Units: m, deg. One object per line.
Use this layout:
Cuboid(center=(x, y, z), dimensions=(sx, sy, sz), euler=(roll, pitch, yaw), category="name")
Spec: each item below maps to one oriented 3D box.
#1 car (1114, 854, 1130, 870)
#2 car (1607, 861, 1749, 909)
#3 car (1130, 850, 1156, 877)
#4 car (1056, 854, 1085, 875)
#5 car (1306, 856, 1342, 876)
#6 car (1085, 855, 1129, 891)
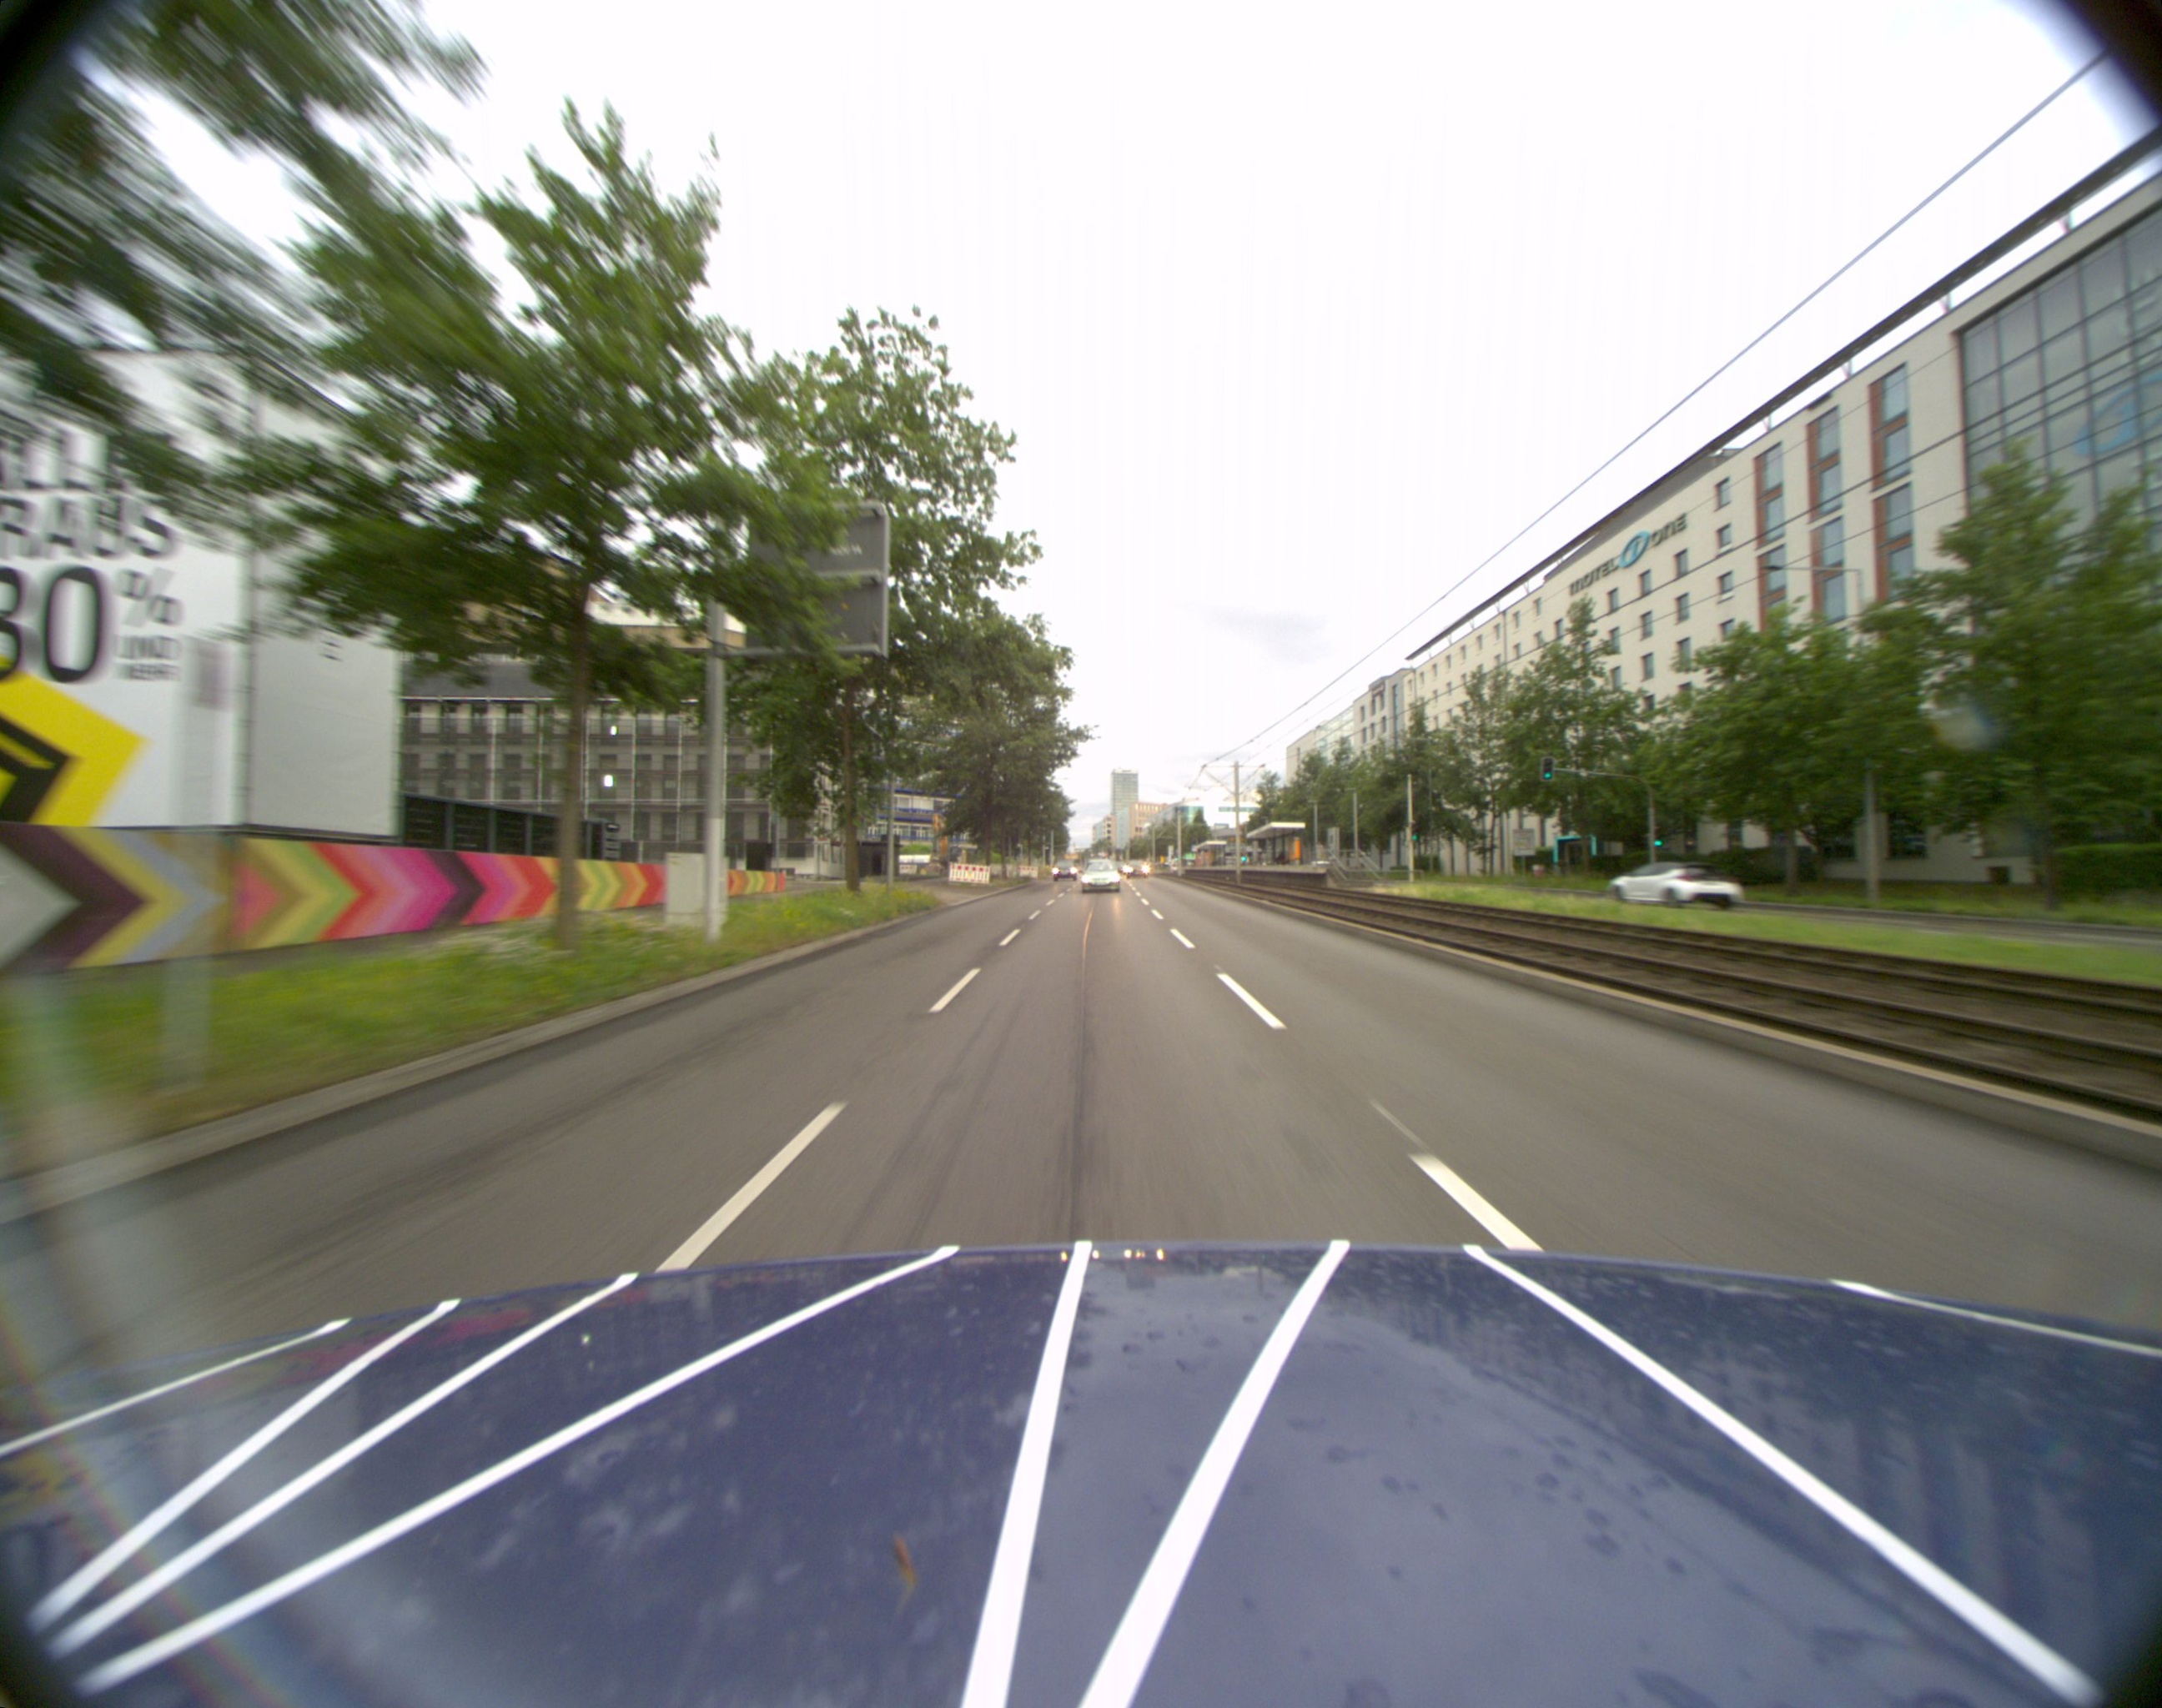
Cuboid(center=(4.933, 0.932, 91.384), dimensions=(1.860, 1.799, 4.116), euler=(-2, -1, 3), category="car")
Cuboid(center=(19.318, 0.956, 24.804), dimensions=(1.701, 1.356, 3.817), euler=(2, 0, 3), category="car")
Cuboid(center=(5.095, 0.745, 63.161), dimensions=(1.998, 2.002, 4.000), euler=(-2, 1, 4), category="car")
Cuboid(center=(-0.809, 0.875, 61.206), dimensions=(1.828, 1.599, 4.117), euler=(-2, -2, 6), category="car")
Cuboid(center=(18.591, 0.888, 58.215), dimensions=(1.701, 1.356, 3.561), euler=(2, 0, 3), category="car")
Cuboid(center=(1.267, 0.863, 35.411), dimensions=(1.828, 1.499, 4.116), euler=(-2, -1, 4), category="car")
